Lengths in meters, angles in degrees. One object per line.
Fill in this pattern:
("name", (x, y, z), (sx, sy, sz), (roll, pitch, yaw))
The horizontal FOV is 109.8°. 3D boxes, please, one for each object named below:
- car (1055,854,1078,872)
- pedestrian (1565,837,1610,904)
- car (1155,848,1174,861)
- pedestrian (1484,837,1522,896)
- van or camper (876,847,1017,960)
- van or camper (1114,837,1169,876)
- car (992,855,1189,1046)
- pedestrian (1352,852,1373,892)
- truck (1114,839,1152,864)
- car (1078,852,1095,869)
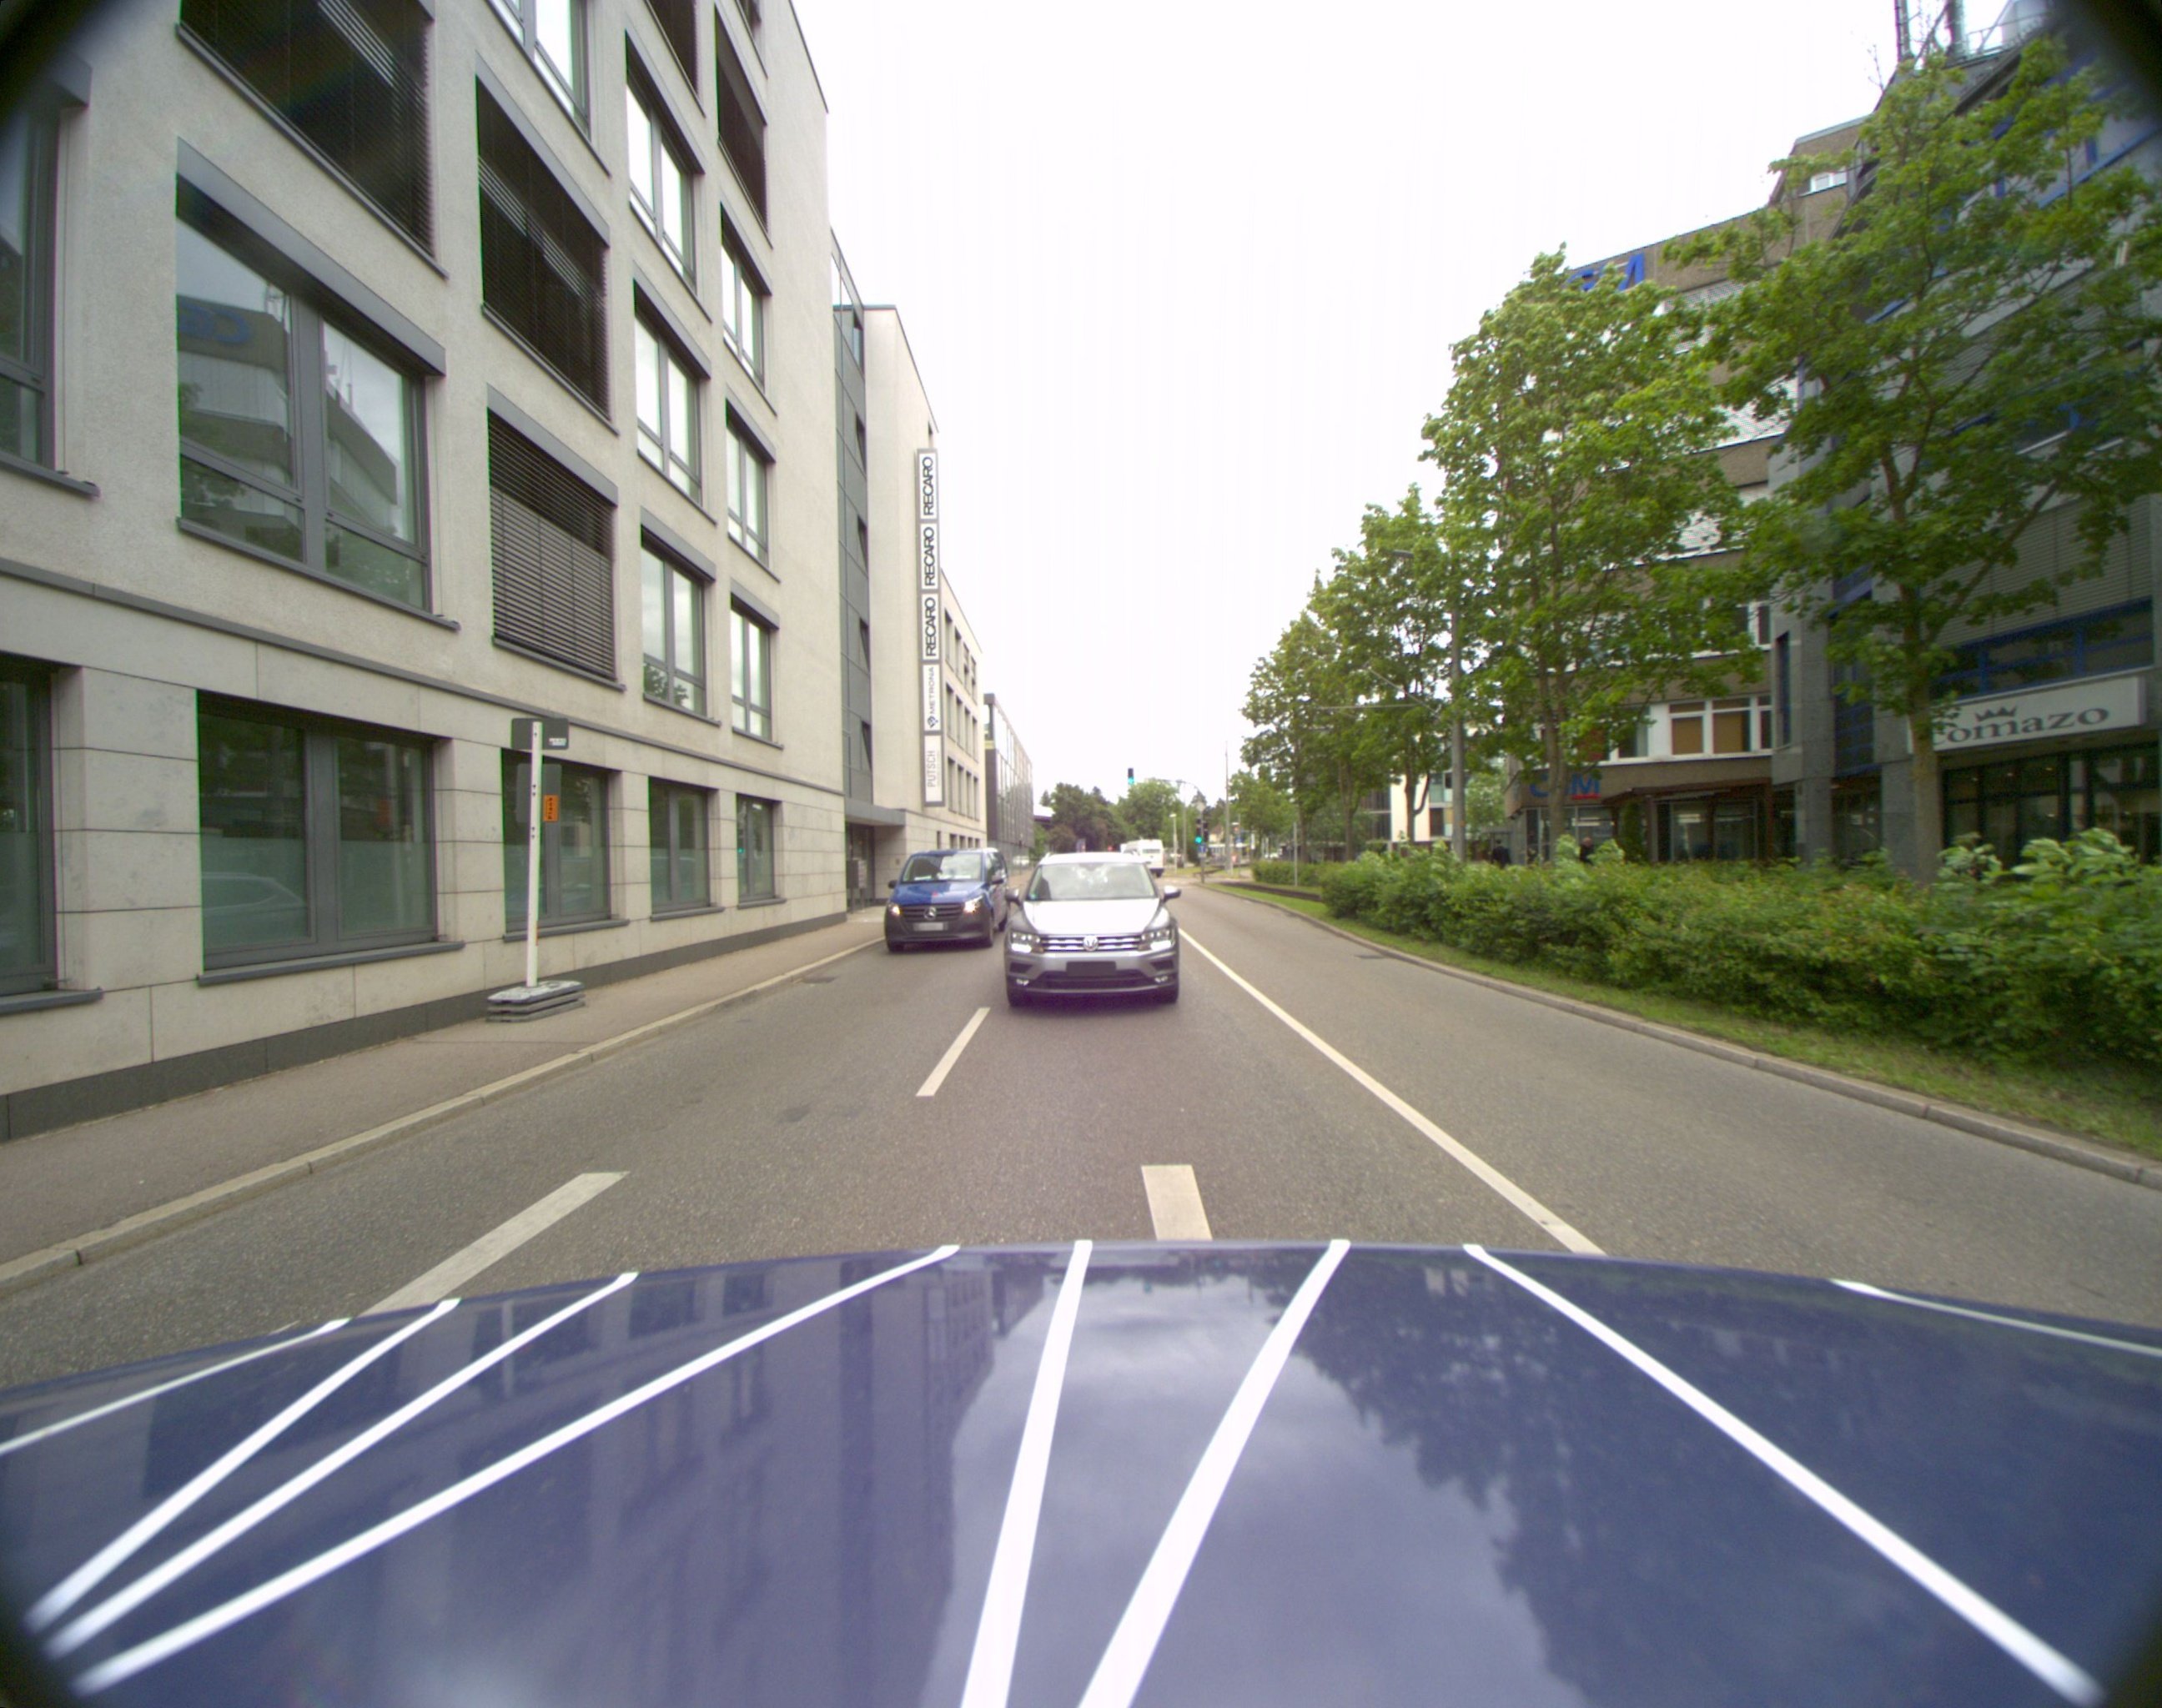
("car", (-1.322, 0.850, 70.946), (1.890, 1.483, 4.000), (-4, 0, 1))
("pedestrian", (14.747, 0.473, 22.130), (0.776, 1.883, 0.731), (-2, 1, 0))
("car", (13.964, 0.068, 127.432), (1.995, 2.002, 4.006), (-1, 1, 24))
("pedestrian", (14.085, 0.395, 25.378), (0.816, 1.912, 0.731), (-2, 1, 0))
("van or camper", (-2.511, 0.836, 15.504), (1.864, 1.900, 5.032), (-1, 0, 1))
("van or camper", (4.499, 0.174, 57.657), (2.115, 2.718, 6.143), (-2, 1, -16))
("car", (0.124, 0.903, 9.286), (1.798, 1.716, 4.458), (-1, 0, 1))
("pedestrian", (13.221, 0.837, 35.712), (0.680, 1.795, 0.731), (-2, 1, -4))
("truck", (8.001, -0.423, 116.287), (2.317, 3.626, 8.024), (-1, 1, 31))
("car", (0.735, 0.839, 95.330), (1.998, 2.002, 4.000), (-2, 1, 1))
